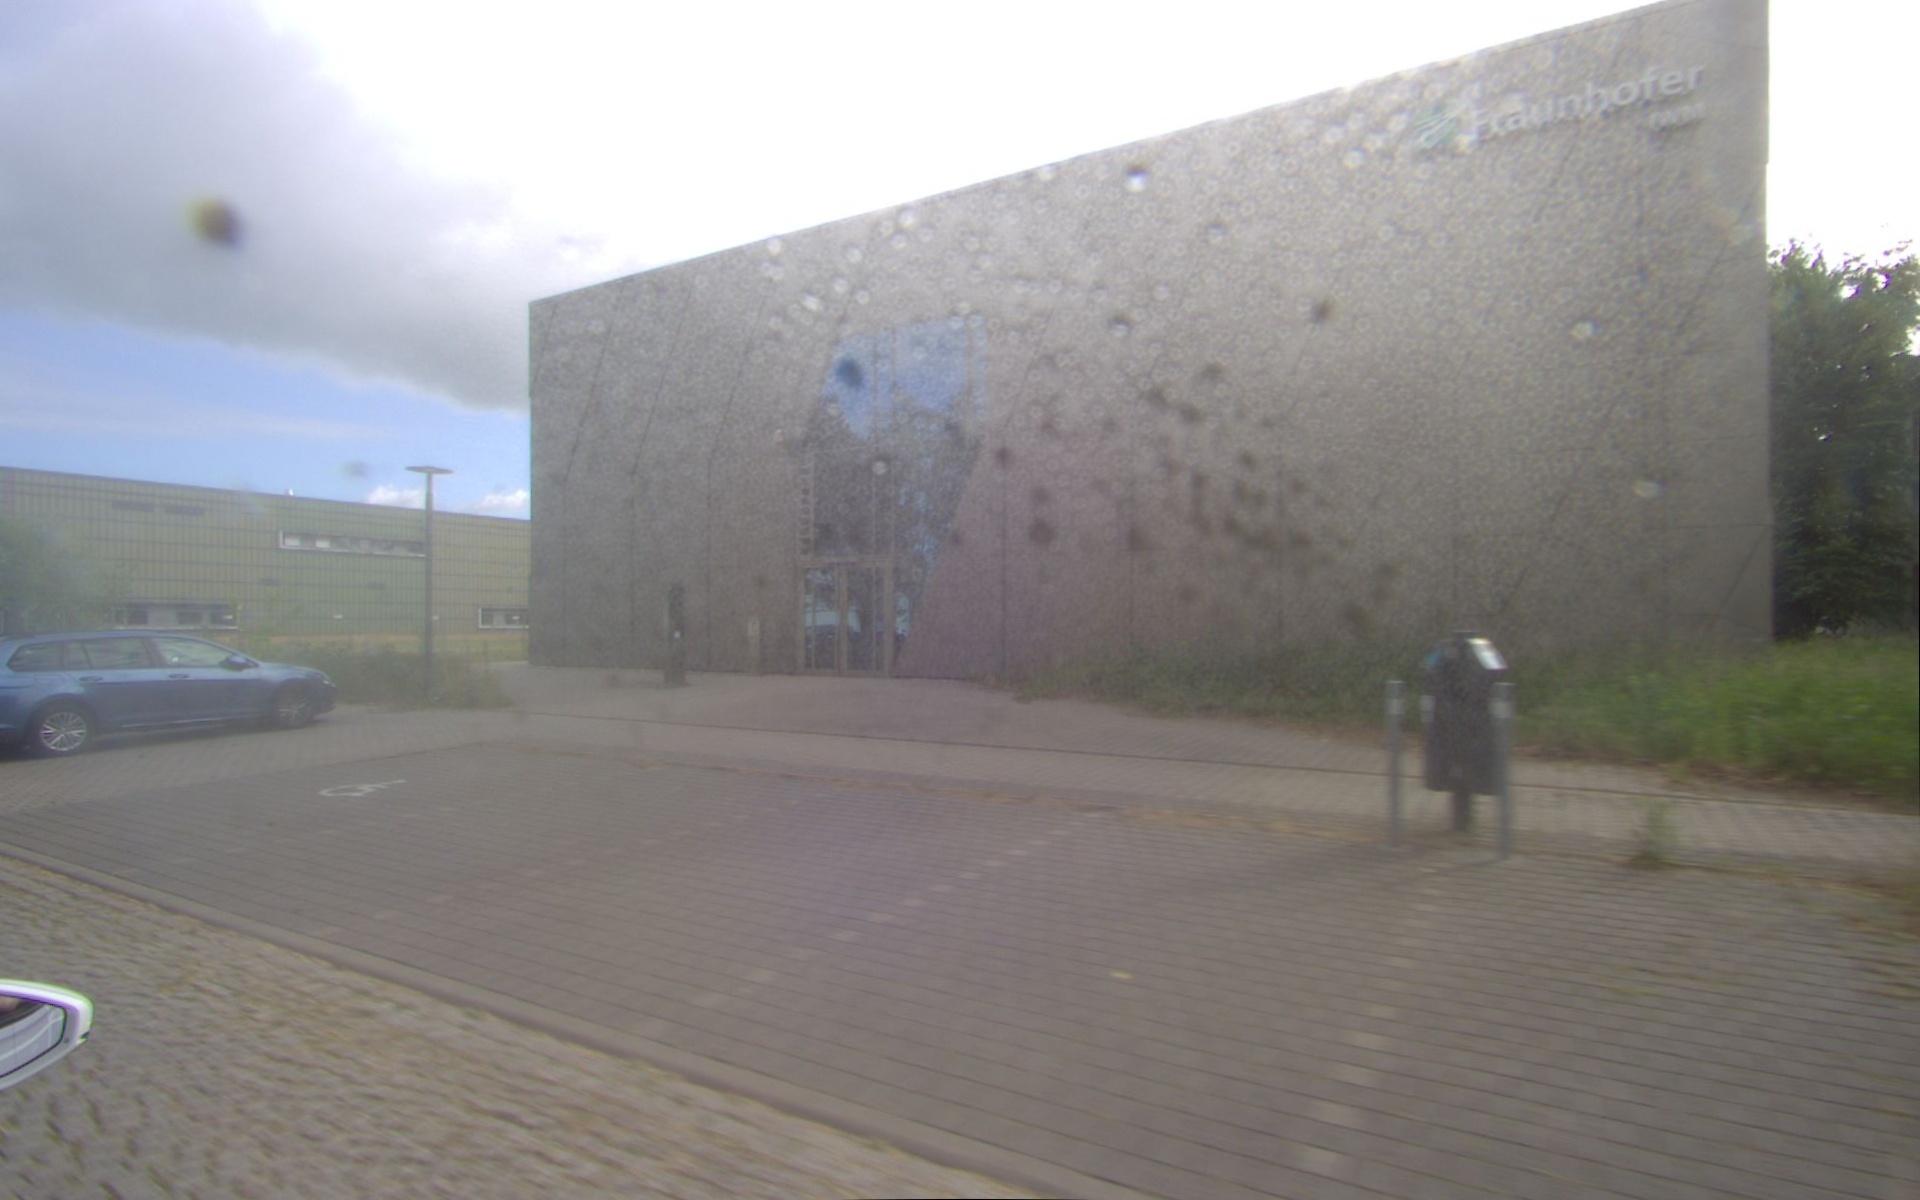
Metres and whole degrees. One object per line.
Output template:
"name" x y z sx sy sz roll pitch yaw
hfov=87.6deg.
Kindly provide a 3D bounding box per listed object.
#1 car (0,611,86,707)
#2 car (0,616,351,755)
"car" -17.120 1.029 17.235 1.658 1.603 2.735 0 1 31
"car" -11.022 1.026 13.439 1.902 1.469 4.518 0 1 29
